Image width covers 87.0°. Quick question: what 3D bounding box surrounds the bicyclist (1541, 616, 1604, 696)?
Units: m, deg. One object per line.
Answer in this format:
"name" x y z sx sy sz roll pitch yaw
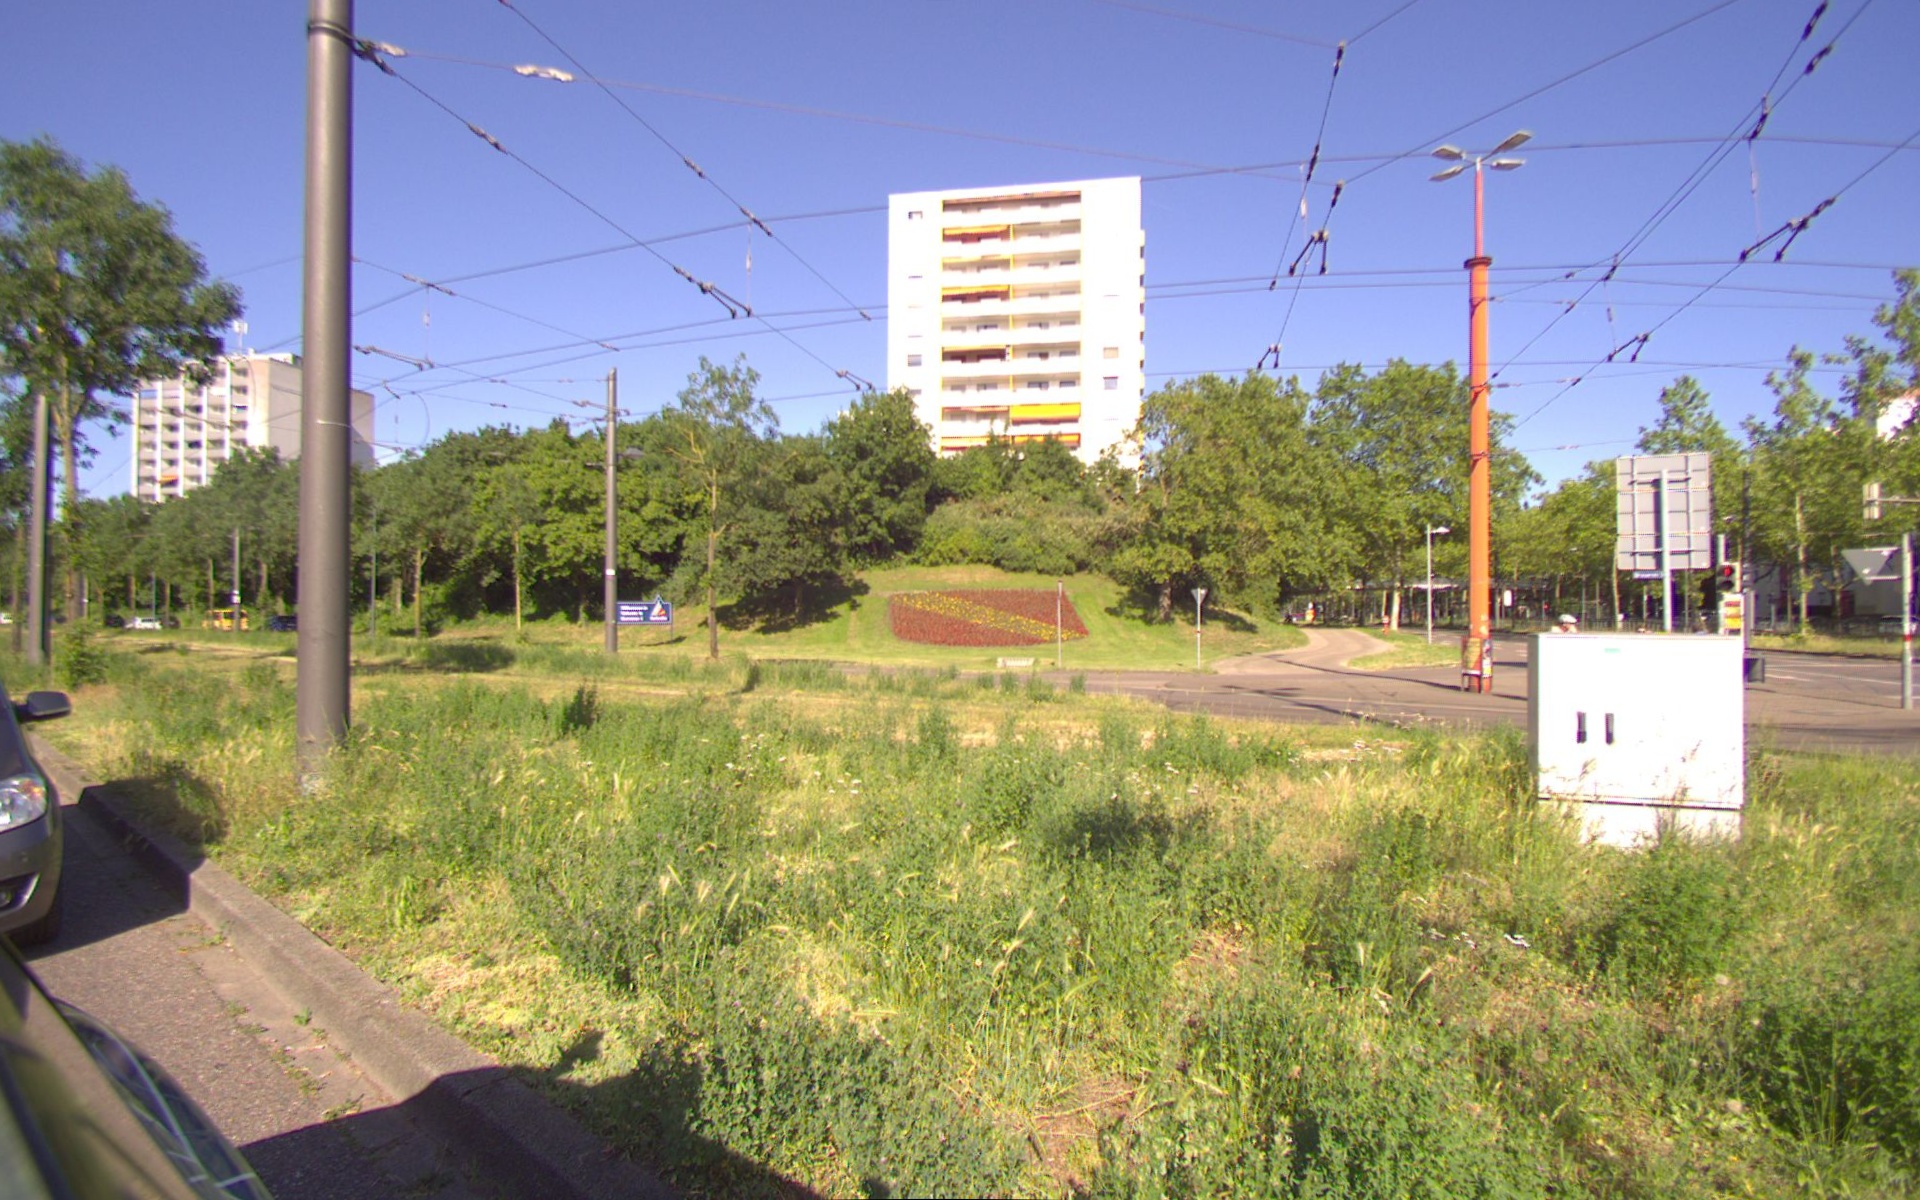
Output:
"bicyclist" 12.184 1.090 20.131 0.719 1.557 0.770 0 -2 -20

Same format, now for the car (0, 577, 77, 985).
"car" -5.727 0.748 4.853 3.879 1.634 1.737 -1 -2 41

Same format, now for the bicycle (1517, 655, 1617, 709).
"bicycle" 12.106 1.616 20.240 0.673 0.968 1.650 0 -1 -20

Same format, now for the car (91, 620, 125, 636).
"car" -83.075 2.711 98.678 4.236 1.519 1.770 -1 -2 39

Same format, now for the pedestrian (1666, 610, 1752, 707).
"pedestrian" 14.372 1.095 19.456 0.944 1.807 0.985 0 -1 11

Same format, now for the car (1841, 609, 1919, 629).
"car" 65.892 1.375 72.384 1.770 1.420 4.010 1 -1 -36

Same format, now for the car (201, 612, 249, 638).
"car" -56.423 1.917 77.627 4.905 1.981 1.972 -1 -2 41

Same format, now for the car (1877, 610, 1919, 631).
"car" 64.903 1.397 68.402 1.770 1.420 4.010 1 -1 -36

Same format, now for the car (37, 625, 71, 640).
"car" -87.961 3.110 98.209 4.305 1.427 1.777 -1 -2 39

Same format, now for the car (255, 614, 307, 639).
"car" -46.020 1.793 68.563 4.105 1.586 1.973 -1 -2 41

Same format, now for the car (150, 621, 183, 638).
"car" -69.571 2.583 88.710 4.000 1.386 1.756 -1 -2 43

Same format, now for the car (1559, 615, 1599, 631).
"car" 79.752 2.989 130.484 3.969 2.029 1.987 -1 -1 20

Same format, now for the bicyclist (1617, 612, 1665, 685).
"bicyclist" 13.320 0.936 19.799 0.435 1.391 0.631 0 -2 -20

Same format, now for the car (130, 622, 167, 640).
"car" -65.009 2.490 81.053 4.020 1.418 1.671 -2 -2 42
